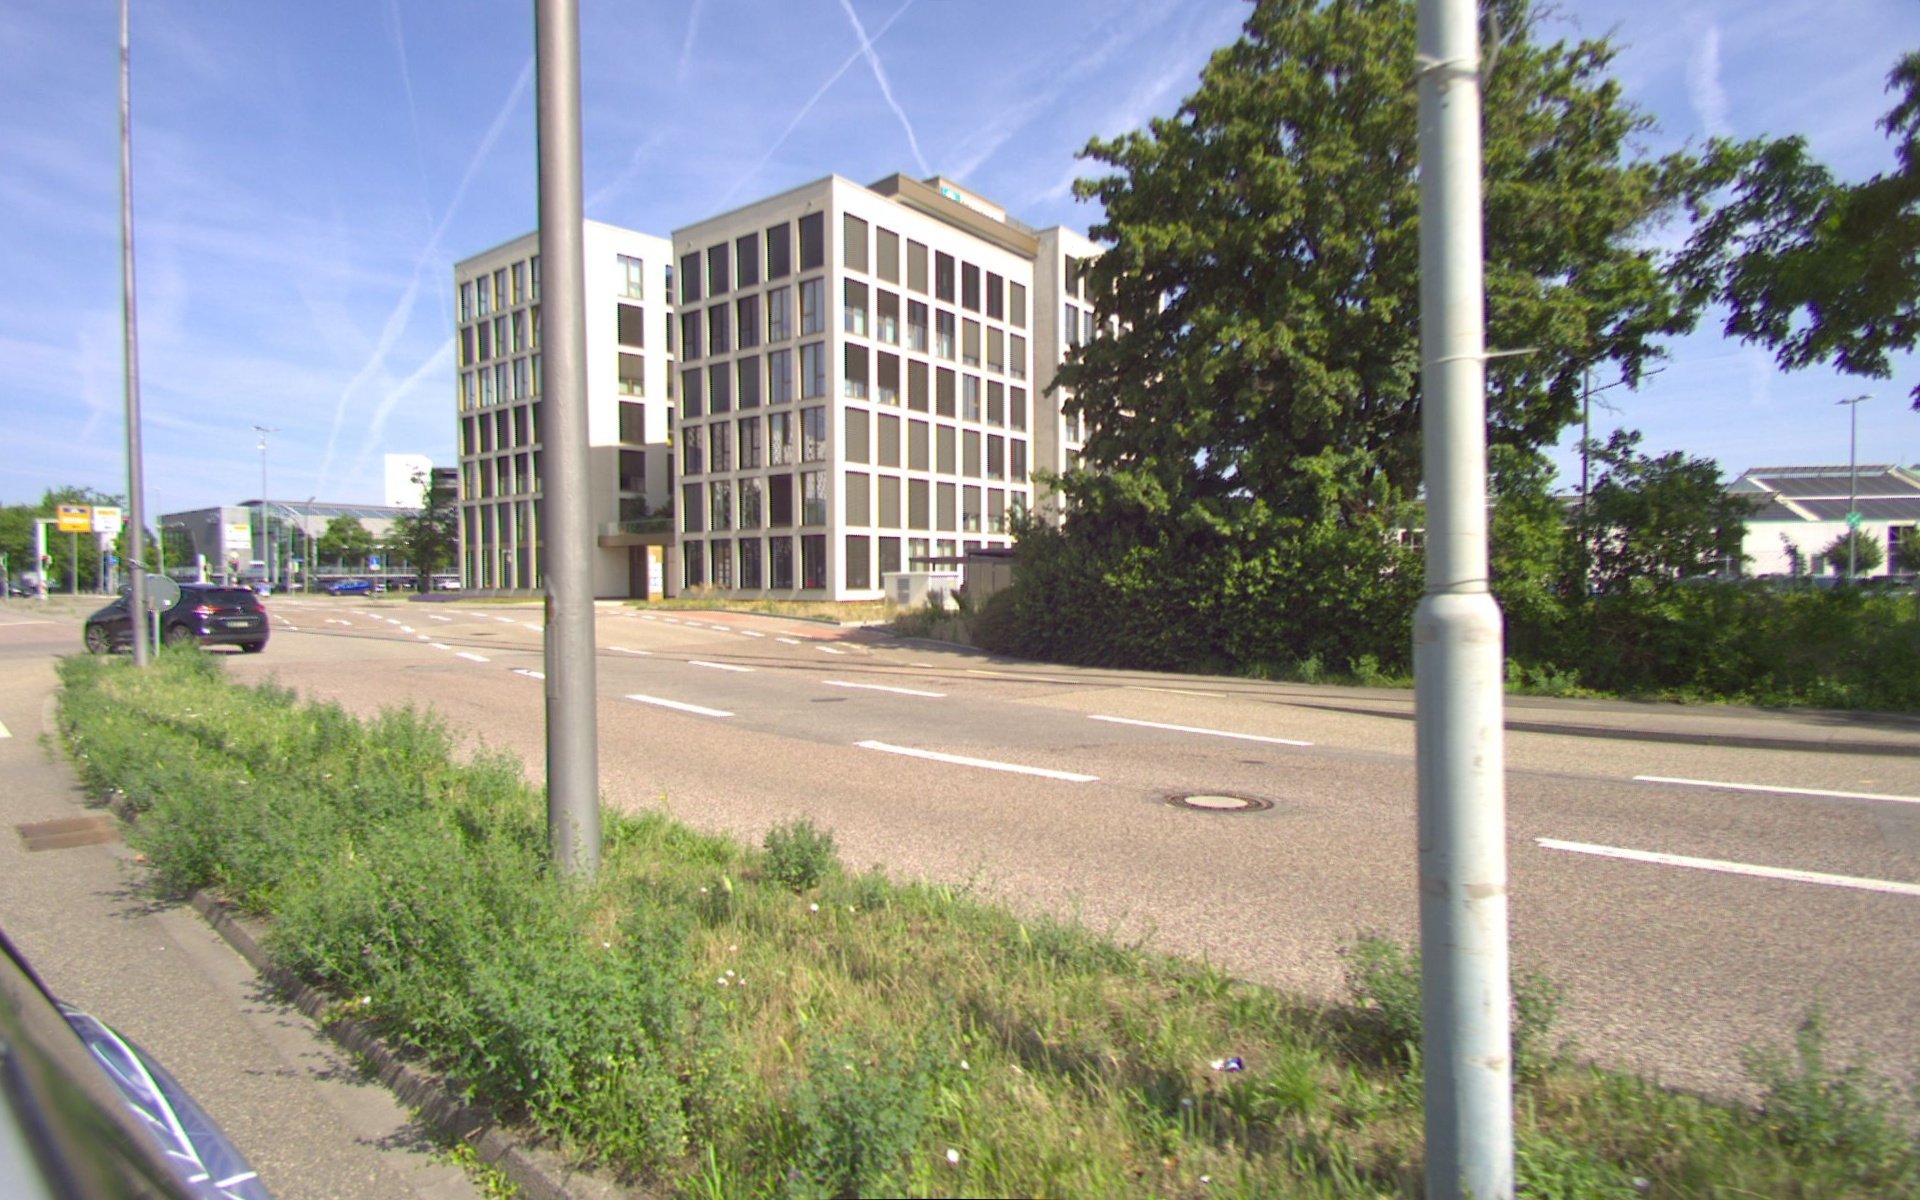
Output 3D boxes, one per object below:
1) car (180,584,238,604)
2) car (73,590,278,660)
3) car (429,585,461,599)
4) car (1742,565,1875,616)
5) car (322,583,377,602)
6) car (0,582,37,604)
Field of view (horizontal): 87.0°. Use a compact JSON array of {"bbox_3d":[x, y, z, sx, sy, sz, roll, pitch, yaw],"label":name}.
[{"bbox_3d":[-70.445,-0.568,94.967,4.324,1.861,1.816,0,0,-37],"label":"car"},{"bbox_3d":[-18.409,0.552,23.783,4.110,1.541,1.851,0,0,18],"label":"car"},{"bbox_3d":[-59.808,-0.962,117.429,3.932,1.584,1.790,0,0,37],"label":"car"},{"bbox_3d":[25.585,-0.328,30.688,1.788,1.408,3.974,-2,1,20],"label":"car"},{"bbox_3d":[-60.092,-0.709,99.597,1.813,1.861,4.332,0,0,45],"label":"car"},{"bbox_3d":[-78.972,-0.575,83.111,4.321,1.861,1.817,0,0,-16],"label":"car"}]
